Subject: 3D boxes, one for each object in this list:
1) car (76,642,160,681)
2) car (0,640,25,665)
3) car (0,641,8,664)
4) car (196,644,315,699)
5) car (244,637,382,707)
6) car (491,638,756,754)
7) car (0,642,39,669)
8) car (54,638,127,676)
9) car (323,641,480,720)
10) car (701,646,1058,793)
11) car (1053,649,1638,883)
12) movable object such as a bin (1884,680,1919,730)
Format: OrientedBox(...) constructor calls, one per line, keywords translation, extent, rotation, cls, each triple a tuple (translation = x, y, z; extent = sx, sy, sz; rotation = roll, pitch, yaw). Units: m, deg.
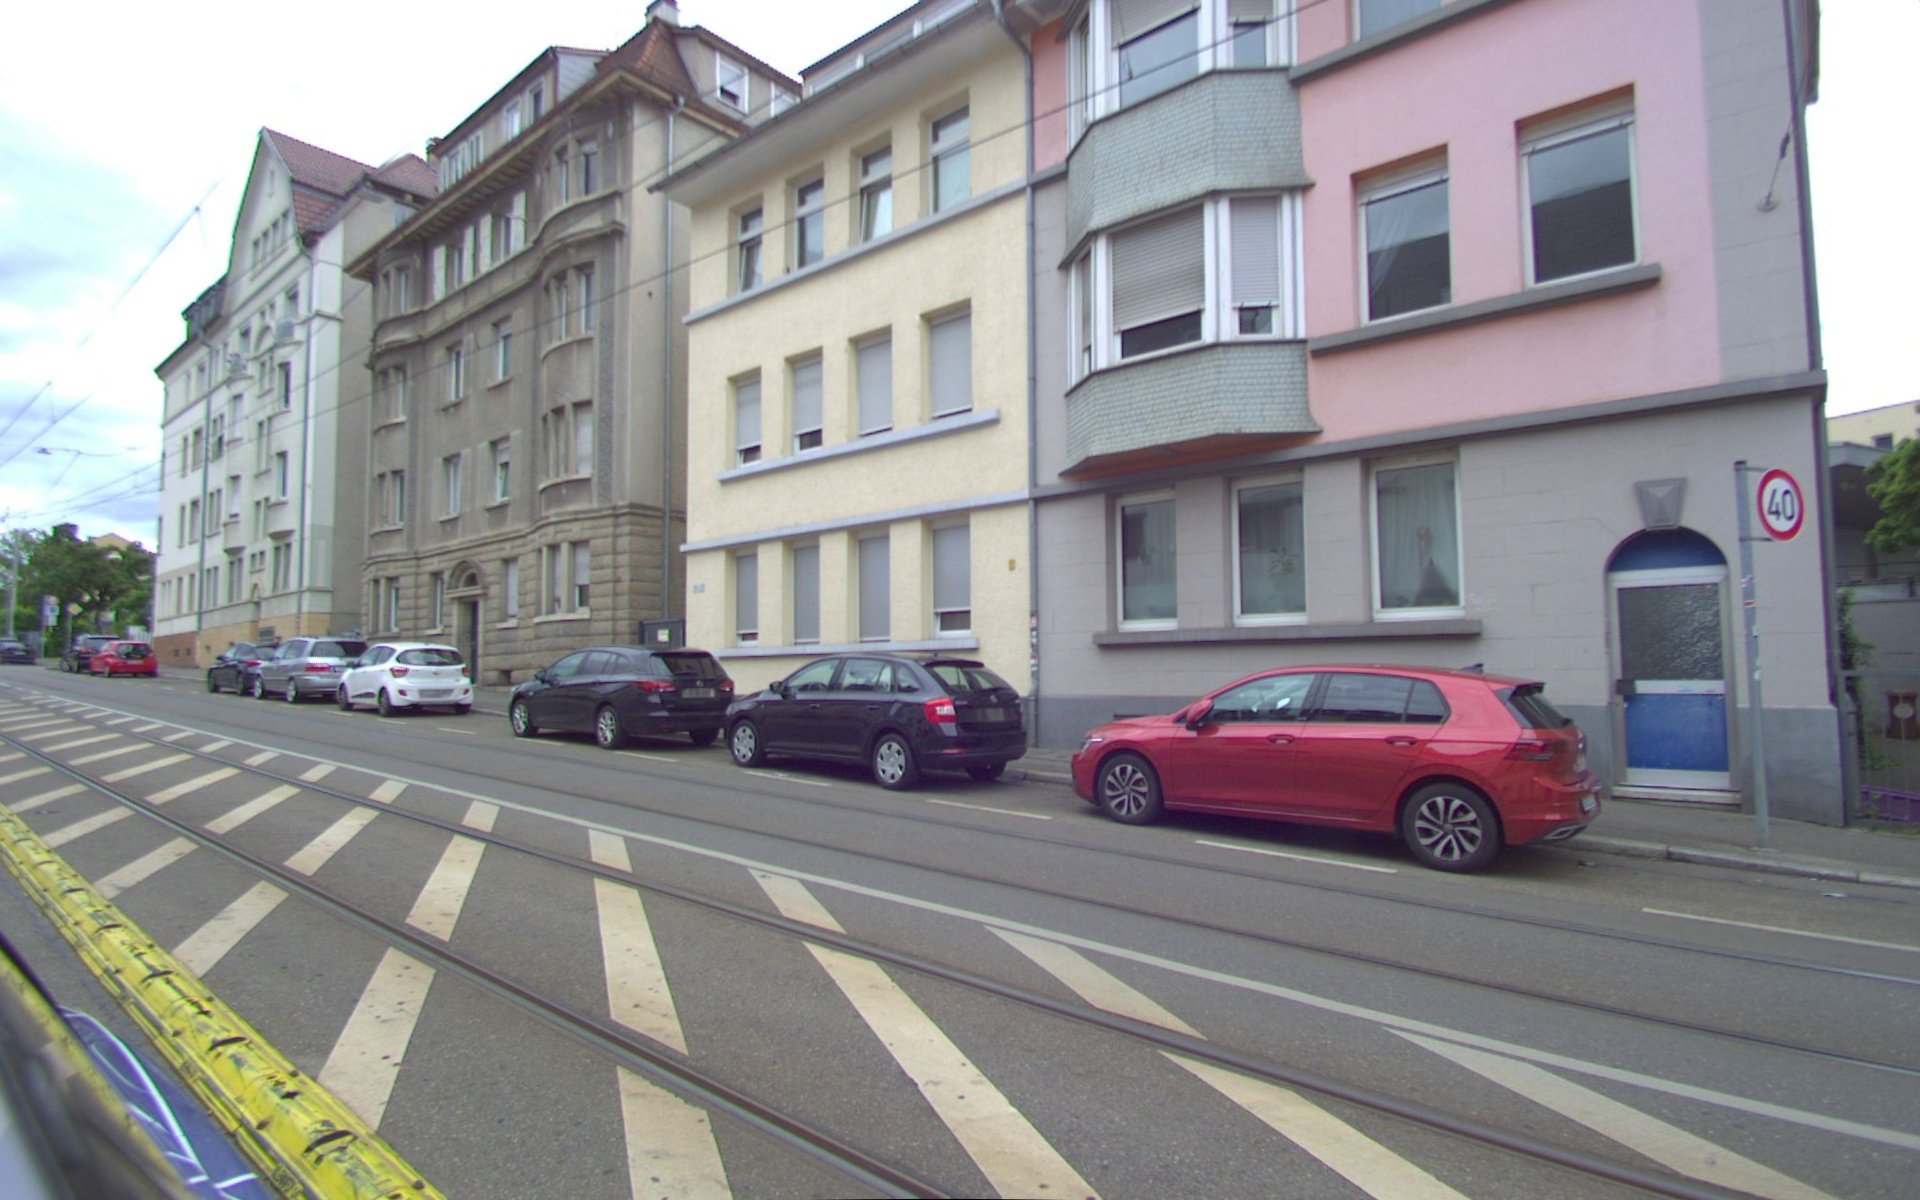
OrientedBox(translation=(-34.253, 2.475, 41.147), extent=(3.945, 1.470, 1.722), rotation=(-1, -5, 37), cls="car")
OrientedBox(translation=(-61.767, 3.360, 65.206), extent=(3.950, 1.537, 1.720), rotation=(-2, -5, 41), cls="car")
OrientedBox(translation=(-66.751, 3.547, 69.306), extent=(3.949, 1.537, 1.721), rotation=(-2, -5, 40), cls="car")
OrientedBox(translation=(-19.769, 1.954, 28.346), extent=(4.042, 1.392, 1.721), rotation=(-2, -3, 40), cls="car")
OrientedBox(translation=(-16.138, 1.729, 25.188), extent=(4.140, 1.579, 1.721), rotation=(-2, -3, 40), cls="car")
OrientedBox(translation=(-5.261, 1.379, 15.529), extent=(4.524, 1.522, 1.766), rotation=(-2, -5, 41), cls="car")
OrientedBox(translation=(-57.190, 3.340, 61.102), extent=(3.949, 1.537, 1.721), rotation=(-2, -5, 40), cls="car")
OrientedBox(translation=(-38.097, 2.495, 44.303), extent=(3.949, 1.537, 1.721), rotation=(-2, -5, 40), cls="car")
OrientedBox(translation=(-11.967, 1.658, 21.611), extent=(3.799, 1.522, 1.720), rotation=(-2, -4, 41), cls="car")
OrientedBox(translation=(-1.076, 1.299, 12.057), extent=(4.239, 1.421, 1.766), rotation=(-2, -5, 41), cls="car")
OrientedBox(translation=(3.032, 1.184, 8.527), extent=(4.259, 1.450, 1.766), rotation=(-2, -5, 41), cls="car")
OrientedBox(translation=(17.643, 1.942, 18.752), extent=(0.701, 0.892, 0.673), rotation=(-4, -4, 41), cls="movable object such as a bin")
